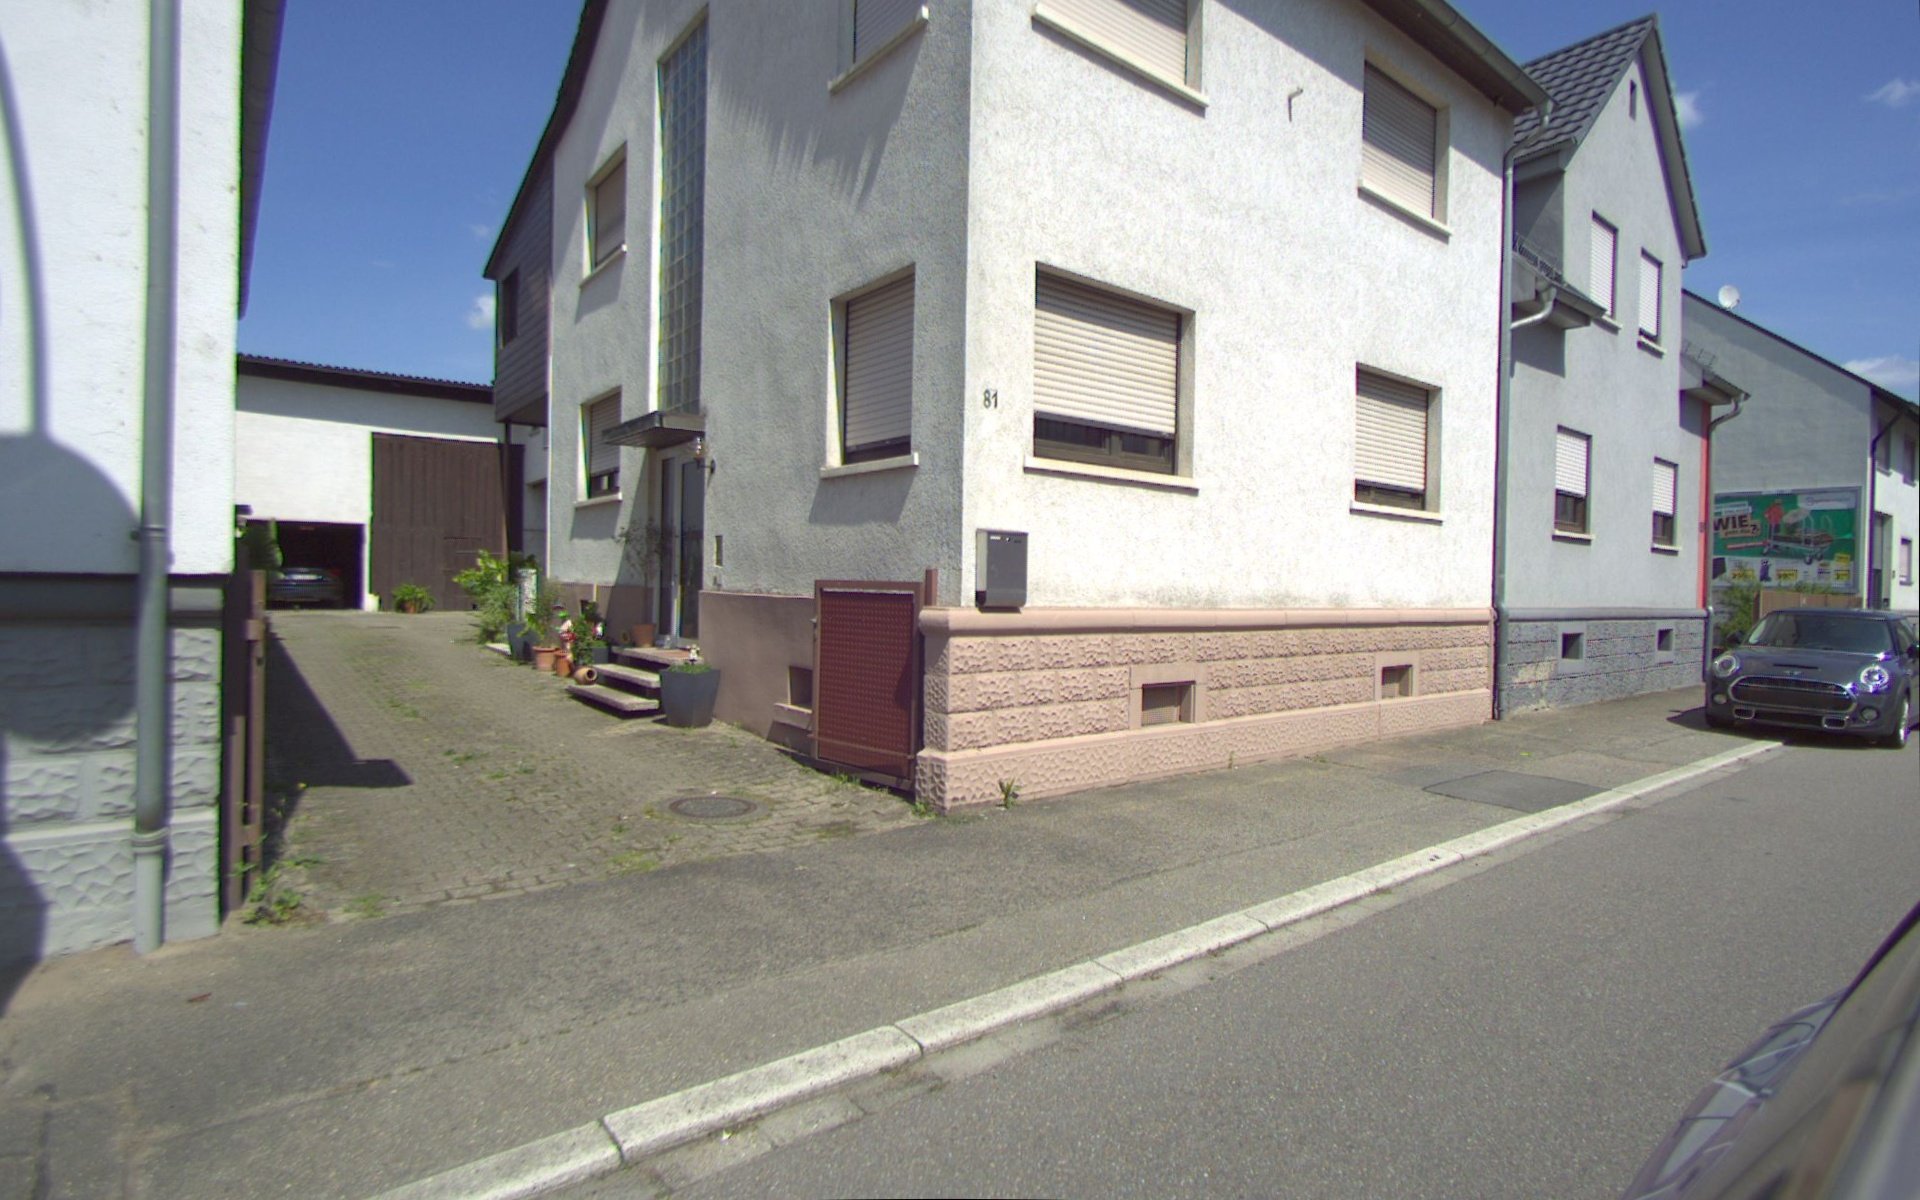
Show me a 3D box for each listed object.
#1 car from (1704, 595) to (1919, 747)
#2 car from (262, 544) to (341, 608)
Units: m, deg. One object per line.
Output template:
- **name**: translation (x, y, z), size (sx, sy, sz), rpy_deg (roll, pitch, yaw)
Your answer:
- **car**: translation (10.175, 0.691, 11.702), size (3.591, 1.440, 1.692), rpy_deg (0, 1, -40)
- **car**: translation (-17.017, -0.617, 26.077), size (1.538, 1.505, 4.000), rpy_deg (0, 1, -35)
